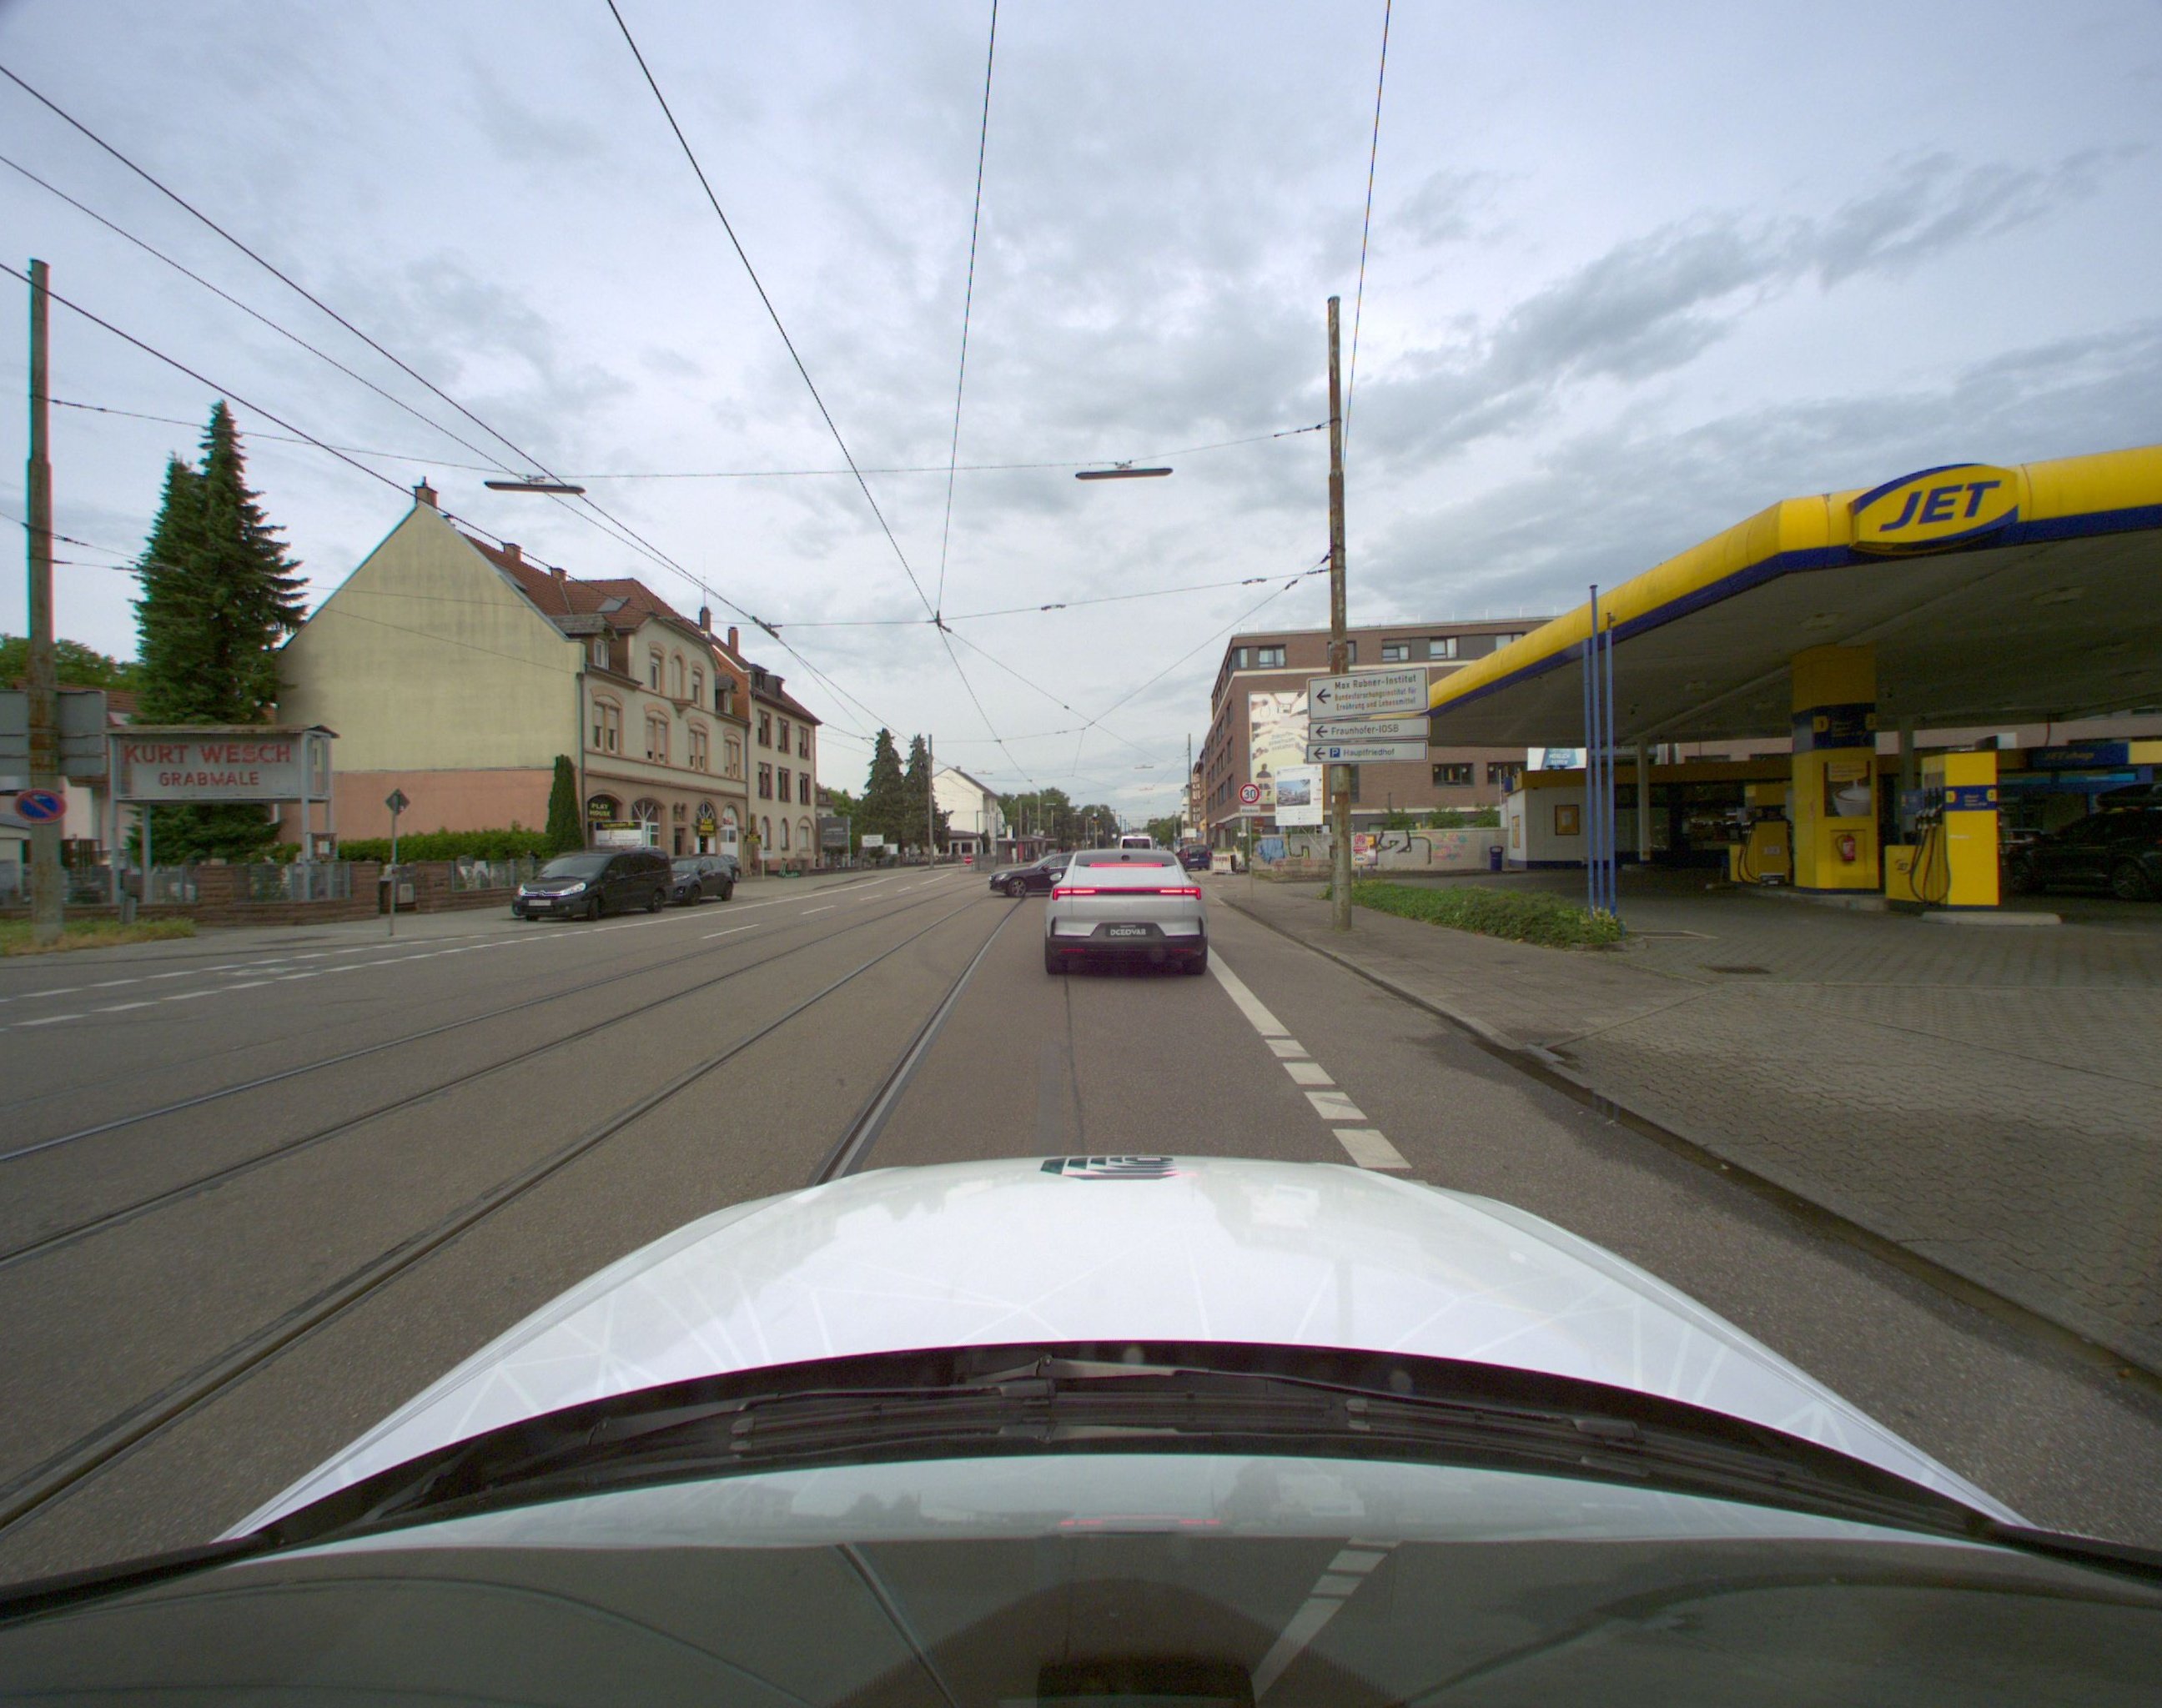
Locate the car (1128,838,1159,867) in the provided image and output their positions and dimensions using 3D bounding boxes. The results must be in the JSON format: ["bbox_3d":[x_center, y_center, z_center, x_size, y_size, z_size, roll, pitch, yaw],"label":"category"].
[{"bbox_3d":[4.746,-0.083,62.424,2.132,2.145,4.744,0,0,1],"label":"car"}]

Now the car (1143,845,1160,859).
[{"bbox_3d":[10.473,-0.292,121.257,1.989,2.014,3.996,0,0,-2],"label":"car"}]

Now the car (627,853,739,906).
[{"bbox_3d":[-13.817,0.843,28.566,1.839,1.718,4.192,0,0,0],"label":"car"}]

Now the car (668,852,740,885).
[{"bbox_3d":[-18.337,0.679,39.773,1.747,1.500,3.746,0,0,0],"label":"car"}]

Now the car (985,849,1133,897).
[{"bbox_3d":[-0.800,0.610,27.691,4.865,1.427,1.948,-1,0,-7],"label":"car"}]

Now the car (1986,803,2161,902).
[{"bbox_3d":[18.341,-0.108,14.060,1.972,1.497,4.351,-2,1,24],"label":"car"}]

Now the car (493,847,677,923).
[{"bbox_3d":[-13.524,0.778,22.662,1.985,1.887,4.998,0,0,1],"label":"car"}]

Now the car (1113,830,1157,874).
[{"bbox_3d":[3.055,-0.095,46.922,2.209,2.423,4.951,0,0,0],"label":"car"}]

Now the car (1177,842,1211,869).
[{"bbox_3d":[7.823,0.128,56.504,1.868,1.823,4.097,0,0,1],"label":"car"}]

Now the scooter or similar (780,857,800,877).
[{"bbox_3d":[-17.424,0.770,48.780,1.056,1.188,0.315,1,-1,-34],"label":"scooter or similar"}]

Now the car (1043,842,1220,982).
[{"bbox_3d":[0.505,0.636,11.175,1.976,1.550,4.180,0,0,-2],"label":"car"}]

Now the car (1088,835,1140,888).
[{"bbox_3d":[1.274,0.289,33.207,1.987,2.014,3.999,0,0,0],"label":"car"}]

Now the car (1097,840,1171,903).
[{"bbox_3d":[1.512,0.491,24.554,1.963,1.756,3.836,0,0,-1],"label":"car"}]

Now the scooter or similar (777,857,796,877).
[{"bbox_3d":[-17.808,0.772,49.234,1.056,1.188,0.315,1,-1,-34],"label":"scooter or similar"}]
